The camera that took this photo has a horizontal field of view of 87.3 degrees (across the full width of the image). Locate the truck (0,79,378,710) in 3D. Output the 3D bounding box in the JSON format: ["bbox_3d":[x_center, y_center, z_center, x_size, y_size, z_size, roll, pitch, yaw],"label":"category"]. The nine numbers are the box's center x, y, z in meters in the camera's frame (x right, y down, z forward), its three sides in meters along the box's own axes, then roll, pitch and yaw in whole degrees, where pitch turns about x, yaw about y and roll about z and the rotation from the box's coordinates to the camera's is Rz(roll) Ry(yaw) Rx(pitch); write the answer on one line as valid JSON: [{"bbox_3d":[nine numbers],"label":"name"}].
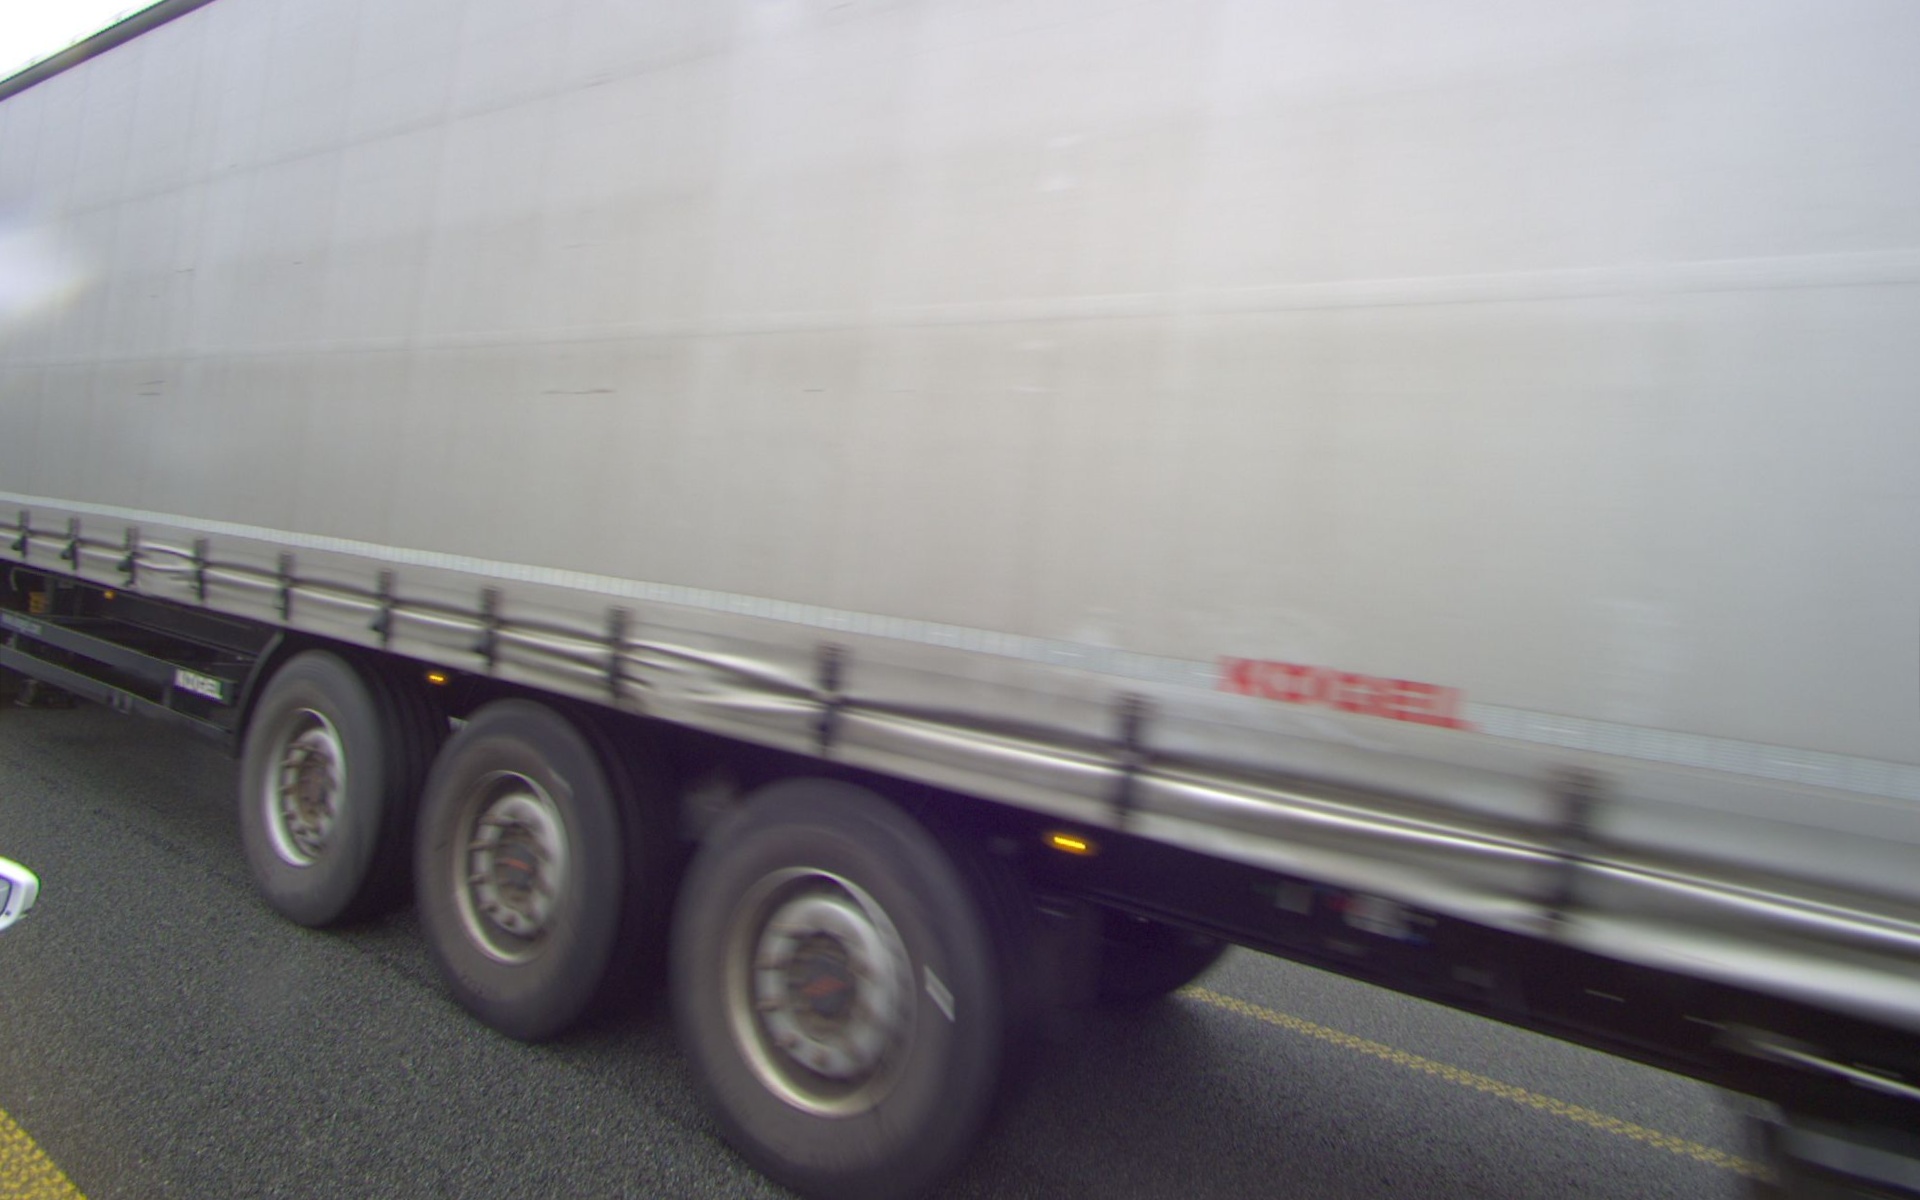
[{"bbox_3d":[-8.358,-1.529,9.056,5.596,4.188,2.710,7,0,32],"label":"truck"}]

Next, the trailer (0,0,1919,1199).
[{"bbox_3d":[-2.837,-0.906,5.560,13.504,4.196,2.710,7,-1,32],"label":"trailer"}]
